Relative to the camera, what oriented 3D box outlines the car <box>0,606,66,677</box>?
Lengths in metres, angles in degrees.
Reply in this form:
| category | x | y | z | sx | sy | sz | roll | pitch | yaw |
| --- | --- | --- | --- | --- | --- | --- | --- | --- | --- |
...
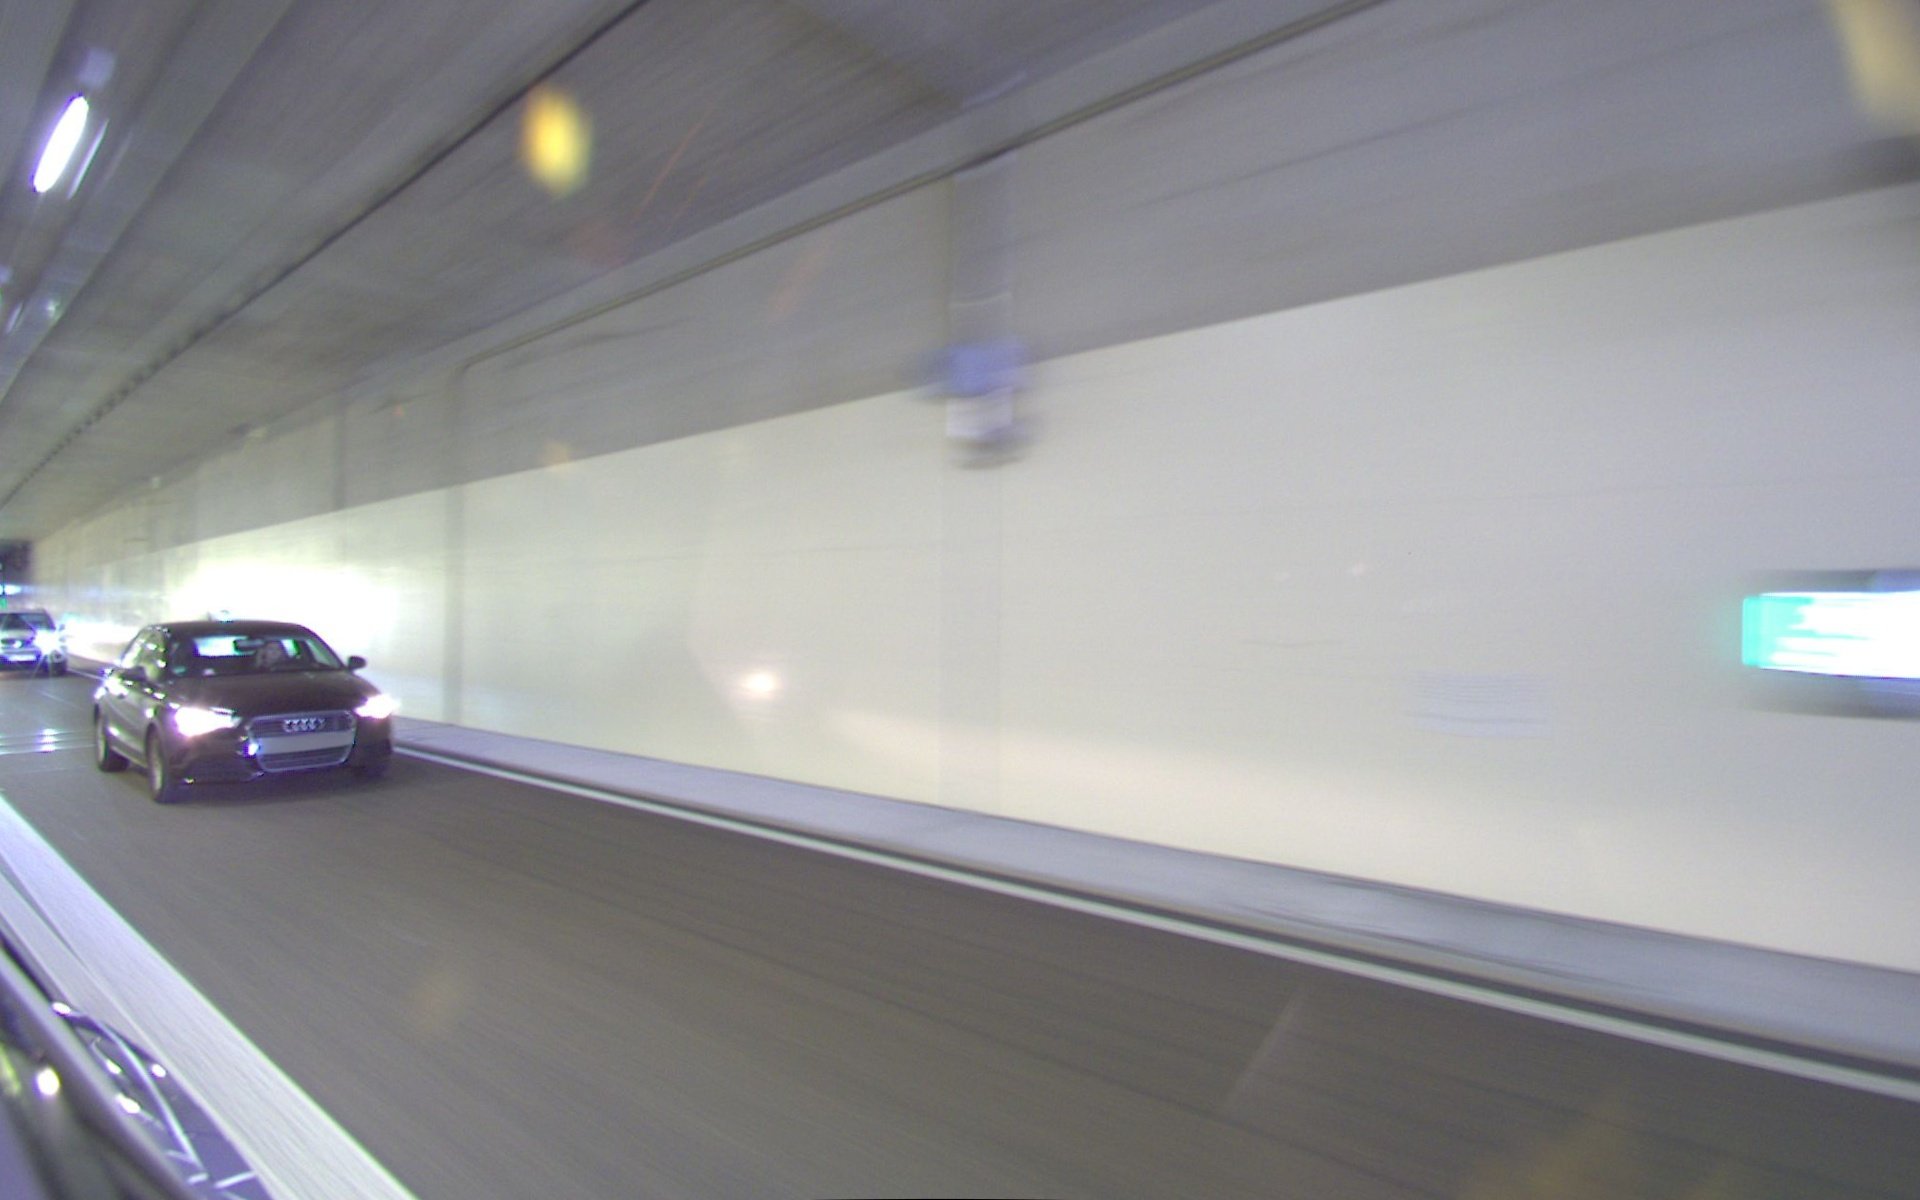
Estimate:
| category | x | y | z | sx | sy | sz | roll | pitch | yaw |
| --- | --- | --- | --- | --- | --- | --- | --- | --- | --- |
| car | -23.847 | 0.992 | 25.316 | 3.830 | 1.677 | 1.829 | -1 | -1 | 42 |

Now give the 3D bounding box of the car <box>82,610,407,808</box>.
| category | x | y | z | sx | sy | sz | roll | pitch | yaw |
| --- | --- | --- | --- | --- | --- | --- | --- | --- | --- |
| car | -6.658 | 0.815 | 9.258 | 3.875 | 1.412 | 1.638 | -1 | 0 | 42 |
